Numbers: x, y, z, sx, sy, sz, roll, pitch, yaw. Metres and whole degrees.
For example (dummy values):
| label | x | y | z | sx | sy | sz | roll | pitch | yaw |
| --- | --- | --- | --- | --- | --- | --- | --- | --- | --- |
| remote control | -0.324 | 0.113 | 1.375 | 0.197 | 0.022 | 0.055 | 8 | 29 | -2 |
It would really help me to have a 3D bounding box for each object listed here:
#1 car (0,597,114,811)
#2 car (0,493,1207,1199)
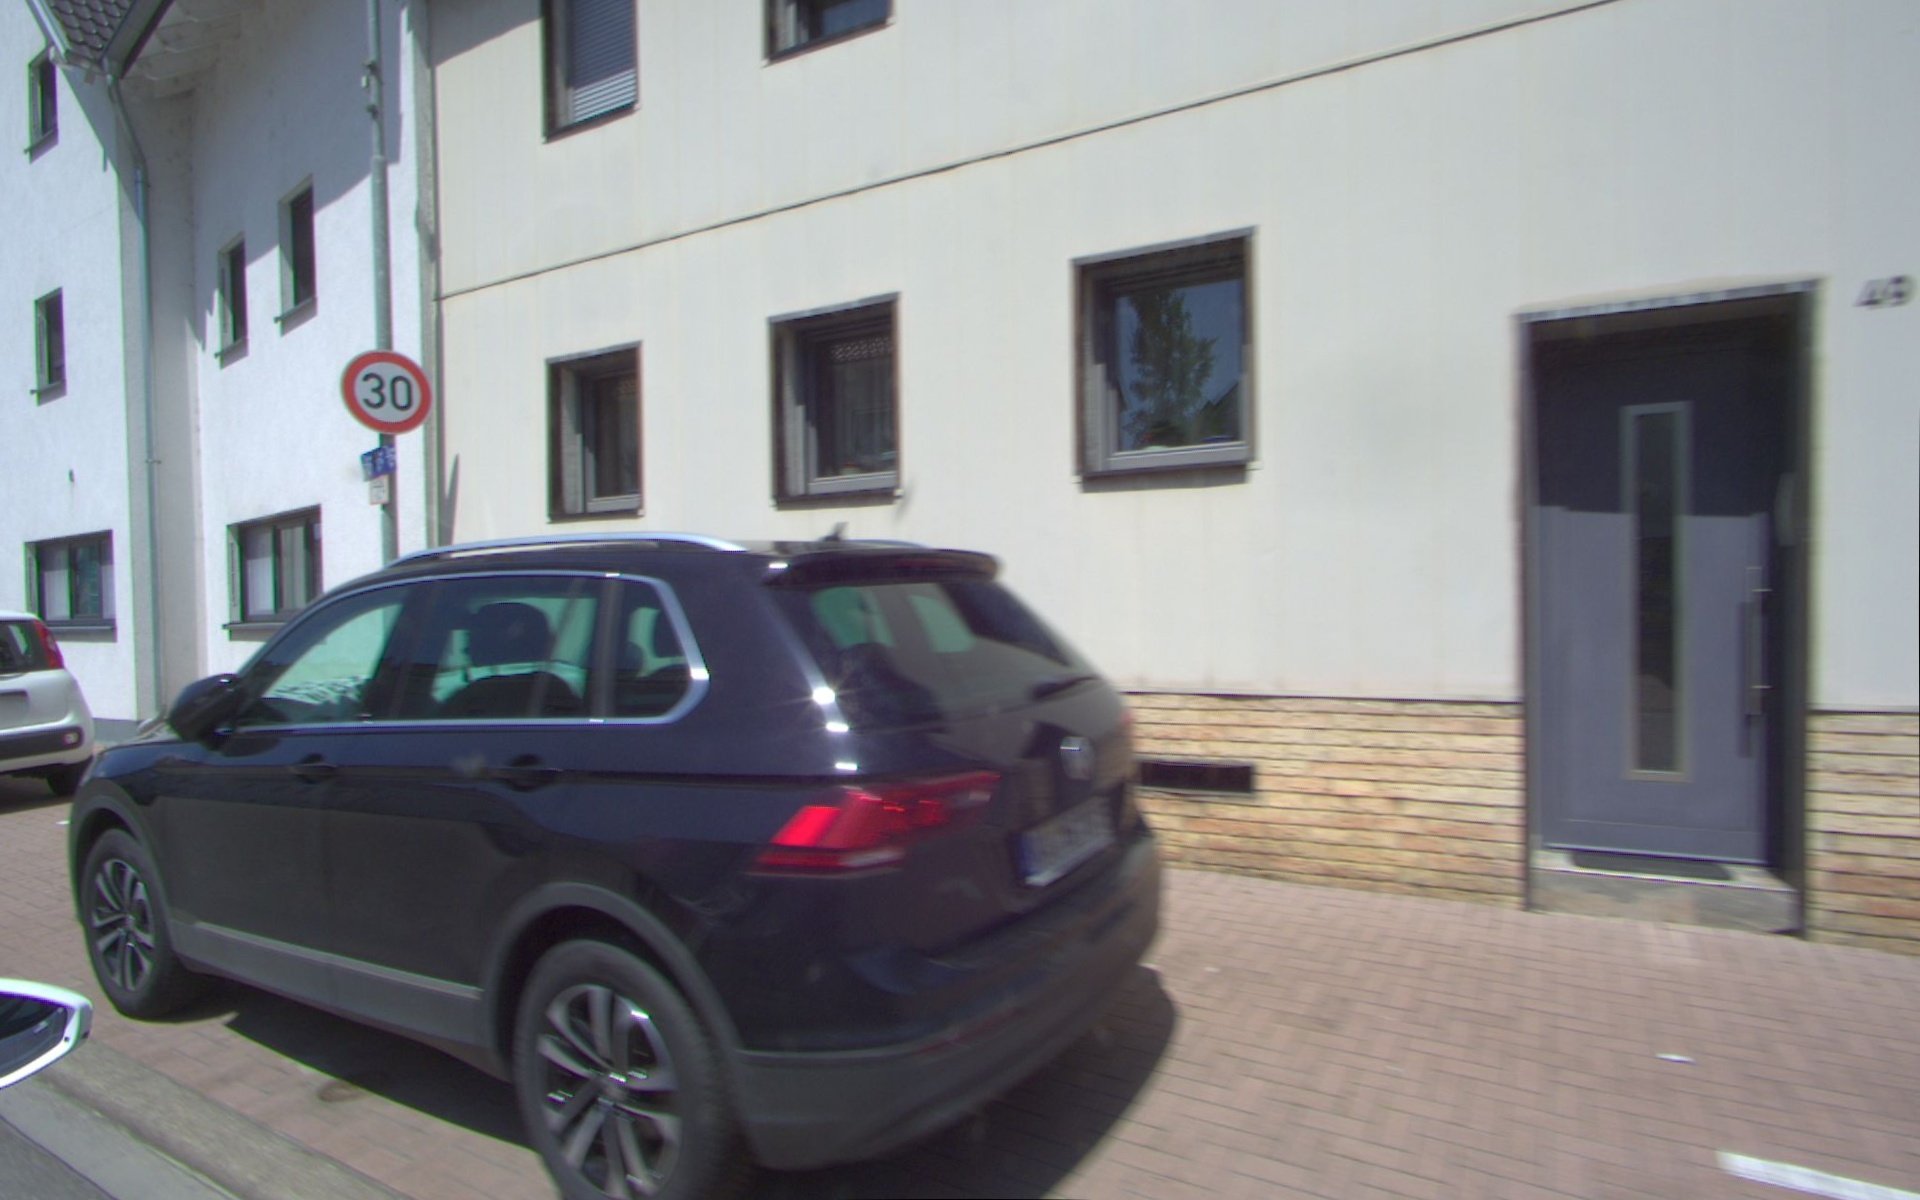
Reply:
| label | x | y | z | sx | sy | sz | roll | pitch | yaw |
| --- | --- | --- | --- | --- | --- | --- | --- | --- | --- |
| car | -8.641 | 0.820 | 8.158 | 3.494 | 1.543 | 1.602 | -1 | 2 | 32 |
| car | -1.565 | 0.616 | 3.688 | 4.482 | 1.636 | 1.798 | 0 | 2 | 32 |
